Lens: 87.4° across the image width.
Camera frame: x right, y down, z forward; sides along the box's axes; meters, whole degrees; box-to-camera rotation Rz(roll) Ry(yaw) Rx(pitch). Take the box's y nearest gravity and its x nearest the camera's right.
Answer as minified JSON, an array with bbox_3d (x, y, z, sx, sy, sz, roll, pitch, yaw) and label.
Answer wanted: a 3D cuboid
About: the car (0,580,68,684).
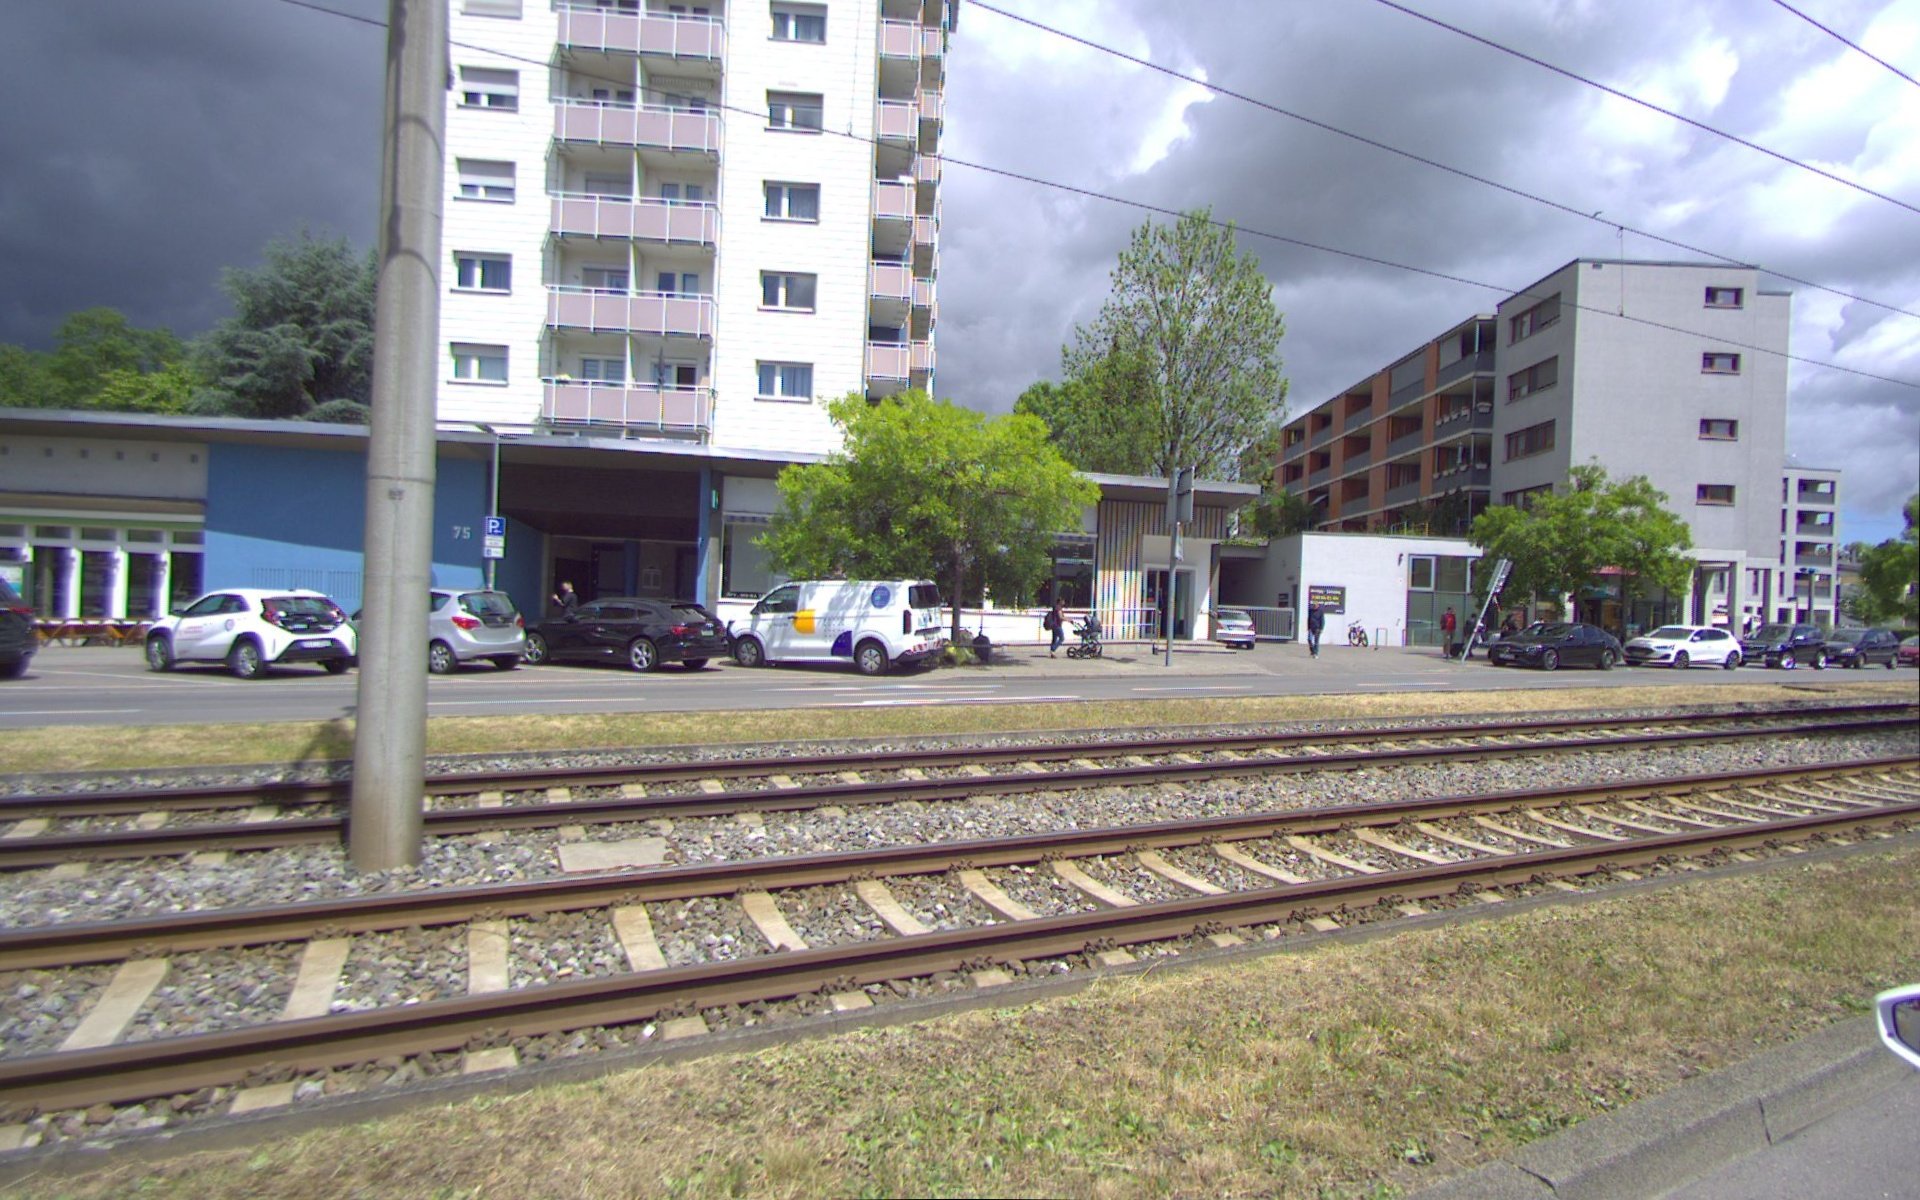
[{"bbox_3d":[-16.737,0.498,16.041,3.920,1.612,1.933,0,-1,16],"label":"car"}]

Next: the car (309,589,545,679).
[{"bbox_3d":[-10.513,0.638,19.891,3.920,1.653,1.907,0,-1,17],"label":"car"}]

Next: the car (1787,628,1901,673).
[{"bbox_3d":[35.464,1.983,40.307,4.044,1.670,1.988,1,-1,-25],"label":"car"}]

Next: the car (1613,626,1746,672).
[{"bbox_3d":[25.045,1.665,34.965,4.336,1.495,1.751,1,-1,-22],"label":"car"}]

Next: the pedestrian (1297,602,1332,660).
[{"bbox_3d":[11.330,0.993,32.101,0.829,1.816,0.871,0,-1,35],"label":"pedestrian"}]

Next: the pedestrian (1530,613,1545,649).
[{"bbox_3d":[24.267,1.294,42.226,0.491,1.479,0.559,0,-1,35],"label":"pedestrian"}]

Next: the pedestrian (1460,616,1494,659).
[{"bbox_3d":[19.063,1.387,37.058,0.957,1.554,0.601,0,-1,-15],"label":"pedestrian"}]

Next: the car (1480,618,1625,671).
[{"bbox_3d":[18.618,1.388,31.535,4.321,1.447,1.729,1,3,-25],"label":"car"}]

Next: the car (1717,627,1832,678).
[{"bbox_3d":[30.395,1.913,37.475,4.051,1.685,1.984,1,1,-30],"label":"car"}]

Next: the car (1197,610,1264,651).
[{"bbox_3d":[10.121,1.117,37.865,1.959,1.462,4.359,0,-1,8],"label":"car"}]

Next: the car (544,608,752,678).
[{"bbox_3d":[-6.645,0.873,21.467,3.922,1.402,1.906,0,-1,22],"label":"car"}]

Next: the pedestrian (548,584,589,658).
[{"bbox_3d":[-9.932,0.545,25.508,0.876,1.845,0.769,1,-1,-15],"label":"pedestrian"}]

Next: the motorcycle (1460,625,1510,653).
[{"bbox_3d":[23.273,1.706,44.548,0.732,1.194,1.883,1,-1,-29],"label":"motorcycle"}]

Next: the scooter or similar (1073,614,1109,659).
[{"bbox_3d":[3.492,0.972,26.850,0.757,1.140,0.578,0,3,-17],"label":"scooter or similar"}]

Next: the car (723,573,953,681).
[{"bbox_3d":[-2.681,0.562,22.089,4.669,2.185,1.906,0,-1,22],"label":"car"}]

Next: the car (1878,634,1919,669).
[{"bbox_3d":[41.647,2.197,43.387,3.372,1.445,1.611,1,-1,-21],"label":"car"}]

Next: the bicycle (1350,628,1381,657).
[{"bbox_3d":[17.753,1.846,44.019,0.656,1.228,1.974,0,-1,4],"label":"bicycle"}]

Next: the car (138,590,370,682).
[{"bbox_3d":[-12.696,0.608,18.081,3.694,1.516,1.746,0,-1,23],"label":"car"}]

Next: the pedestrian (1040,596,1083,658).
[{"bbox_3d":[2.674,0.713,26.562,0.970,1.593,0.513,0,3,-17],"label":"pedestrian"}]

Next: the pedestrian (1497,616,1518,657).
[{"bbox_3d":[21.830,1.455,40.054,0.654,1.594,0.686,0,-1,35],"label":"pedestrian"}]

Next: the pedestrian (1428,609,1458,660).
[{"bbox_3d":[17.338,1.235,36.054,0.833,1.816,0.609,0,-1,-28],"label":"pedestrian"}]
